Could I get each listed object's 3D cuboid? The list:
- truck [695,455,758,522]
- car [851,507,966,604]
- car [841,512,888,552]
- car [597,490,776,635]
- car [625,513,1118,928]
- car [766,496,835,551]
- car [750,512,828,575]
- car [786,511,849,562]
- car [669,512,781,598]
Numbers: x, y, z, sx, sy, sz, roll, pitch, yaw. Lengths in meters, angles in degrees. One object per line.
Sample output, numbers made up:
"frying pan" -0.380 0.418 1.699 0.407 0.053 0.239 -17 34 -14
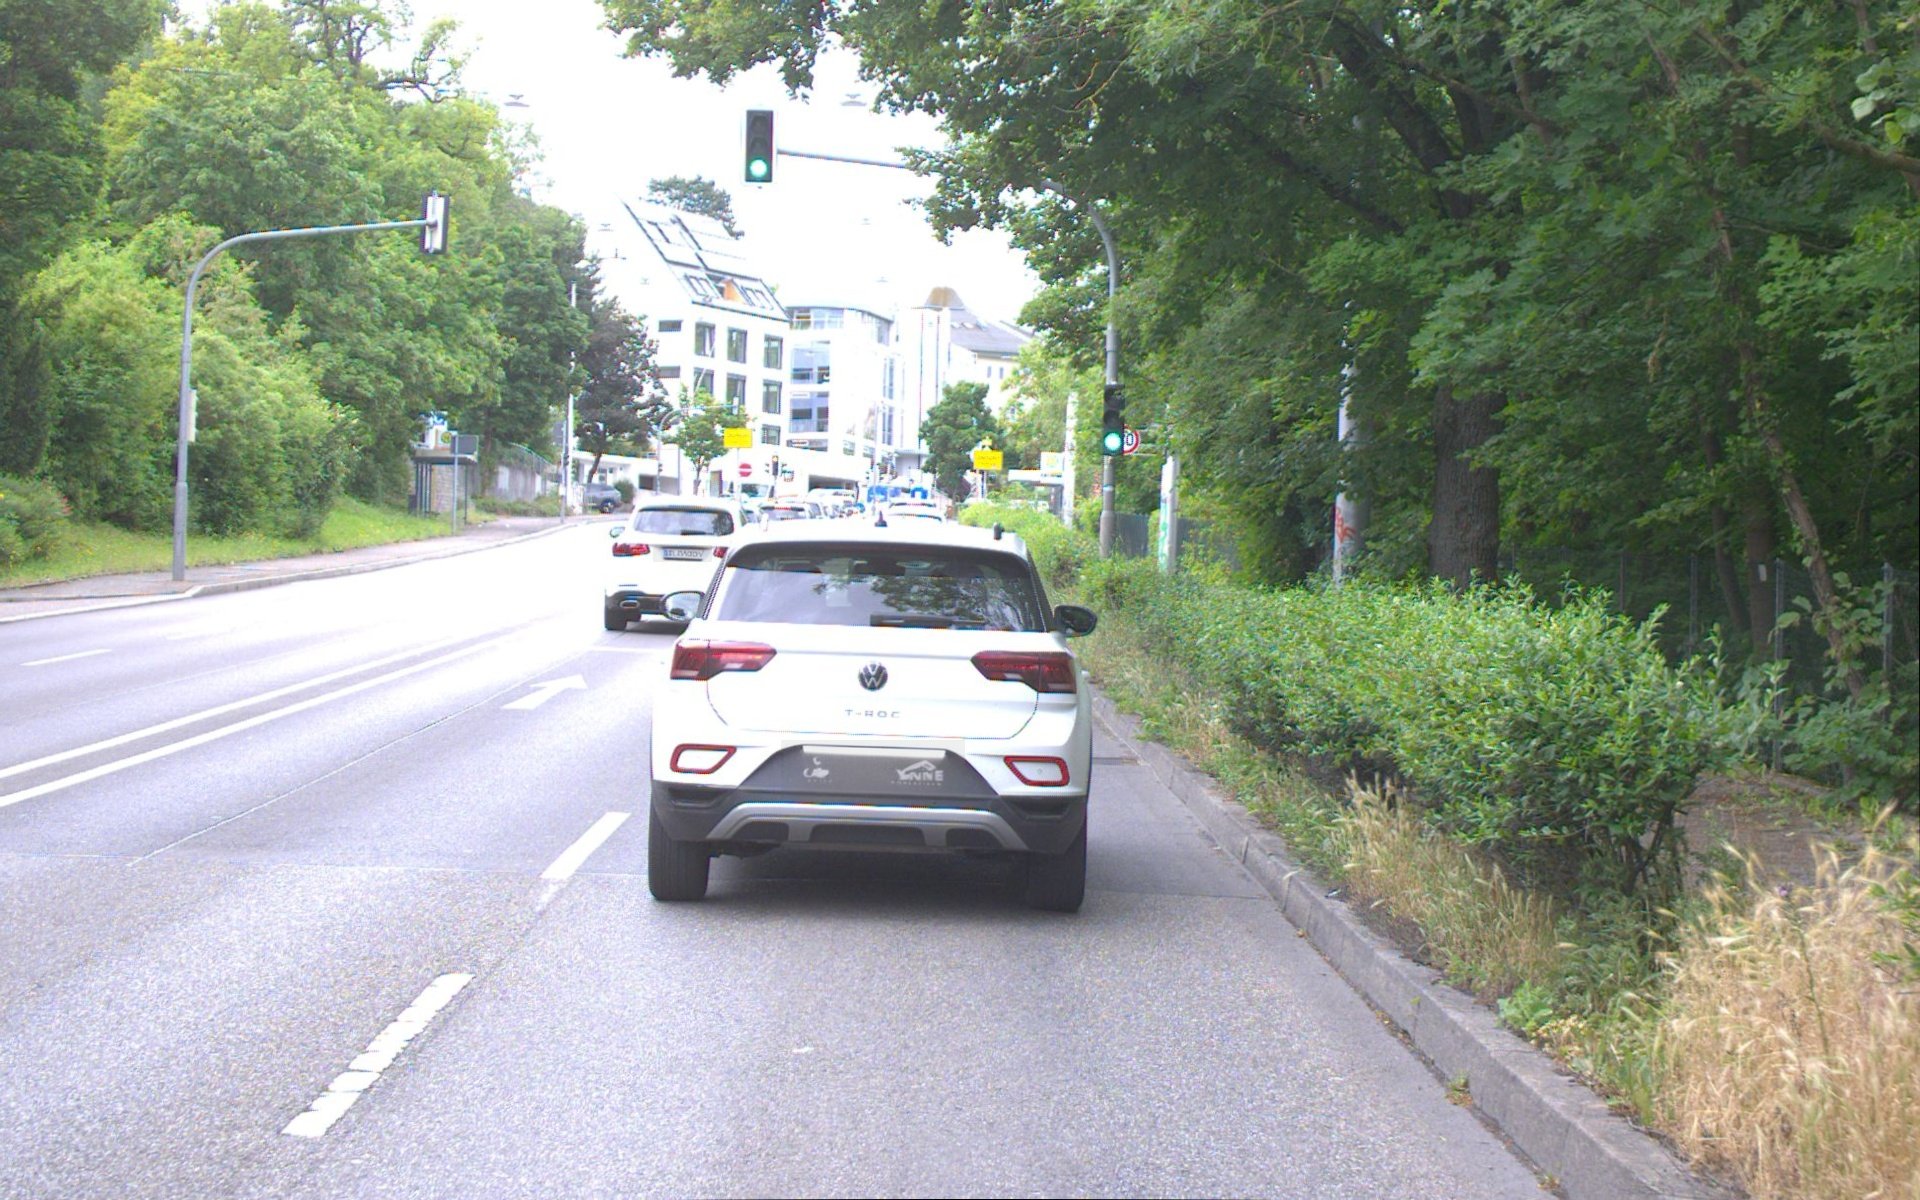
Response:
"truck" -9.650 -4.599 142.373 2.362 2.697 4.478 0 2 -1
"car" -0.861 -0.766 57.227 1.829 1.520 4.000 1 1 -1
"car" -3.791 -2.729 137.161 1.829 1.520 4.000 1 1 -1
"car" -3.309 -0.492 42.209 1.918 1.664 4.000 1 1 -1
"car" -0.371 0.410 15.077 1.829 1.520 4.000 2 1 -1
"car" -4.575 -2.219 99.172 1.829 1.520 4.000 1 1 -1
"car" -4.324 -1.458 87.578 1.829 1.520 4.000 1 1 -1
"car" -4.424 -1.994 107.356 1.829 1.520 4.000 1 1 -1
"car" -4.268 -0.850 62.895 1.829 1.492 4.000 1 1 -1
